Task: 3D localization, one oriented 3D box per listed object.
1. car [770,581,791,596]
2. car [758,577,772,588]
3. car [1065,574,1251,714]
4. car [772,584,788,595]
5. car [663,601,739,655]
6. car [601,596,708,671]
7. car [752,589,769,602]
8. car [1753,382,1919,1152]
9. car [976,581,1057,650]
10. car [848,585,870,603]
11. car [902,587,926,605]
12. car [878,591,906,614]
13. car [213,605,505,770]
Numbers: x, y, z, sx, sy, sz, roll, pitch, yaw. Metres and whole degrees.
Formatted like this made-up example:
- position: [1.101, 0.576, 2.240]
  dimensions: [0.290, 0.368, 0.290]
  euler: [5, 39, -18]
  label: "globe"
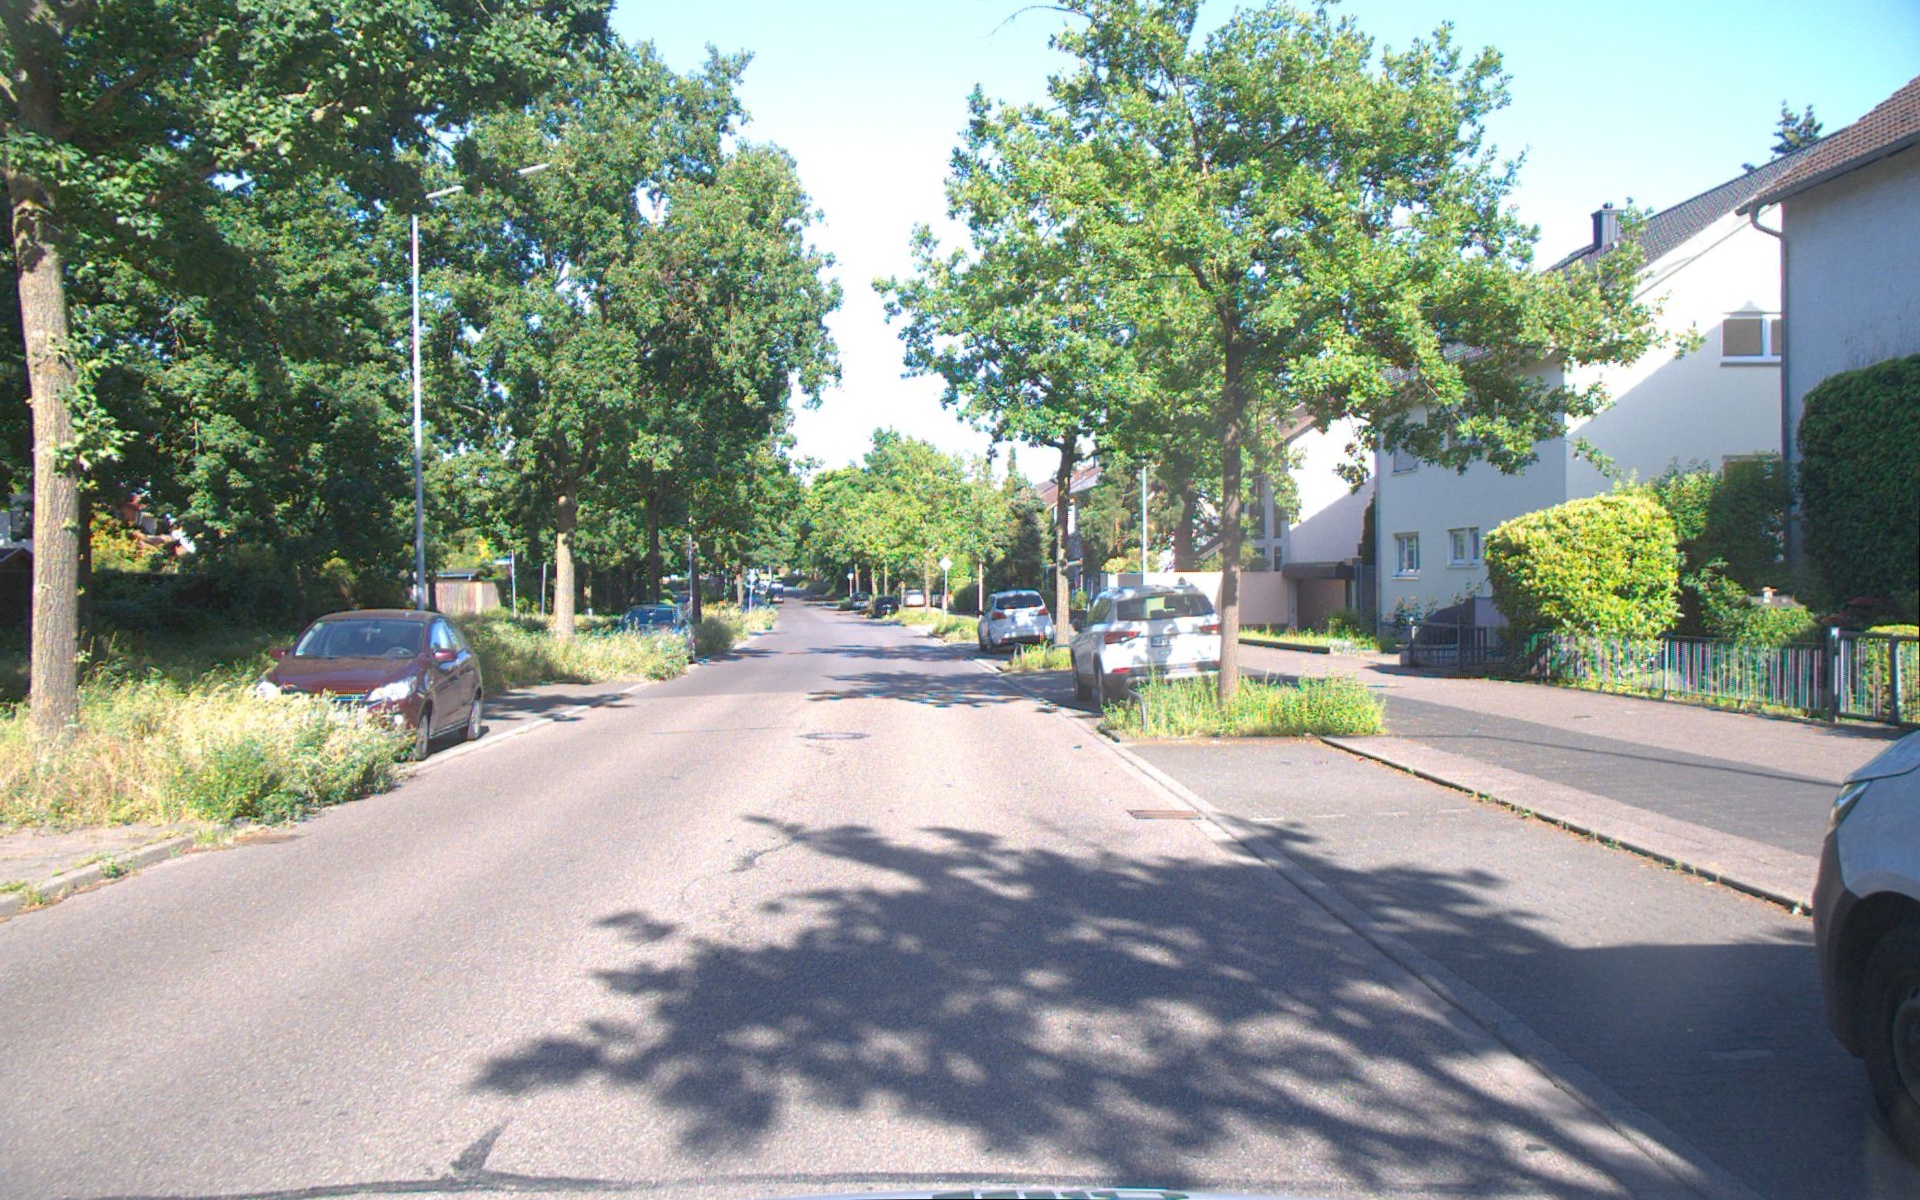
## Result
- position: [-18.094, -1.131, 166.877]
  dimensions: [1.895, 1.479, 3.997]
  euler: [-1, 0, -4]
  label: "car"
- position: [-26.870, -2.402, 228.414]
  dimensions: [1.720, 1.479, 3.997]
  euler: [-1, 0, -4]
  label: "car"
- position: [2.628, 0.546, 22.895]
  dimensions: [1.897, 1.734, 3.998]
  euler: [-1, 0, -3]
  label: "car"
- position: [-23.587, -1.357, 216.677]
  dimensions: [1.895, 1.479, 3.997]
  euler: [-1, 0, -4]
  label: "car"
- position: [-7.627, 0.800, 49.025]
  dimensions: [1.760, 1.505, 3.518]
  euler: [-1, 0, -2]
  label: "car"
- position: [-6.771, 0.700, 37.043]
  dimensions: [1.954, 1.584, 3.996]
  euler: [0, 0, -5]
  label: "car"
- position: [-23.390, -0.521, 193.747]
  dimensions: [1.720, 1.479, 3.997]
  euler: [-1, 0, -4]
  label: "car"
- position: [3.464, 0.430, 2.764]
  dimensions: [1.799, 2.005, 4.756]
  euler: [-1, 0, -3]
  label: "car"
- position: [1.501, 0.386, 45.468]
  dimensions: [1.895, 1.773, 3.998]
  euler: [-1, 0, -3]
  label: "car"
- position: [-8.720, -0.512, 142.697]
  dimensions: [1.895, 1.479, 3.997]
  euler: [-1, 0, -4]
  label: "car"
- position: [-3.926, -0.373, 140.364]
  dimensions: [1.895, 1.479, 3.997]
  euler: [-1, 0, -4]
  label: "car"
- position: [-4.724, 0.160, 114.280]
  dimensions: [1.895, 1.569, 3.998]
  euler: [-1, 0, -3]
  label: "car"
- position: [-6.282, 0.835, 17.785]
  dimensions: [1.898, 1.505, 3.997]
  euler: [-1, 0, -4]
  label: "car"
